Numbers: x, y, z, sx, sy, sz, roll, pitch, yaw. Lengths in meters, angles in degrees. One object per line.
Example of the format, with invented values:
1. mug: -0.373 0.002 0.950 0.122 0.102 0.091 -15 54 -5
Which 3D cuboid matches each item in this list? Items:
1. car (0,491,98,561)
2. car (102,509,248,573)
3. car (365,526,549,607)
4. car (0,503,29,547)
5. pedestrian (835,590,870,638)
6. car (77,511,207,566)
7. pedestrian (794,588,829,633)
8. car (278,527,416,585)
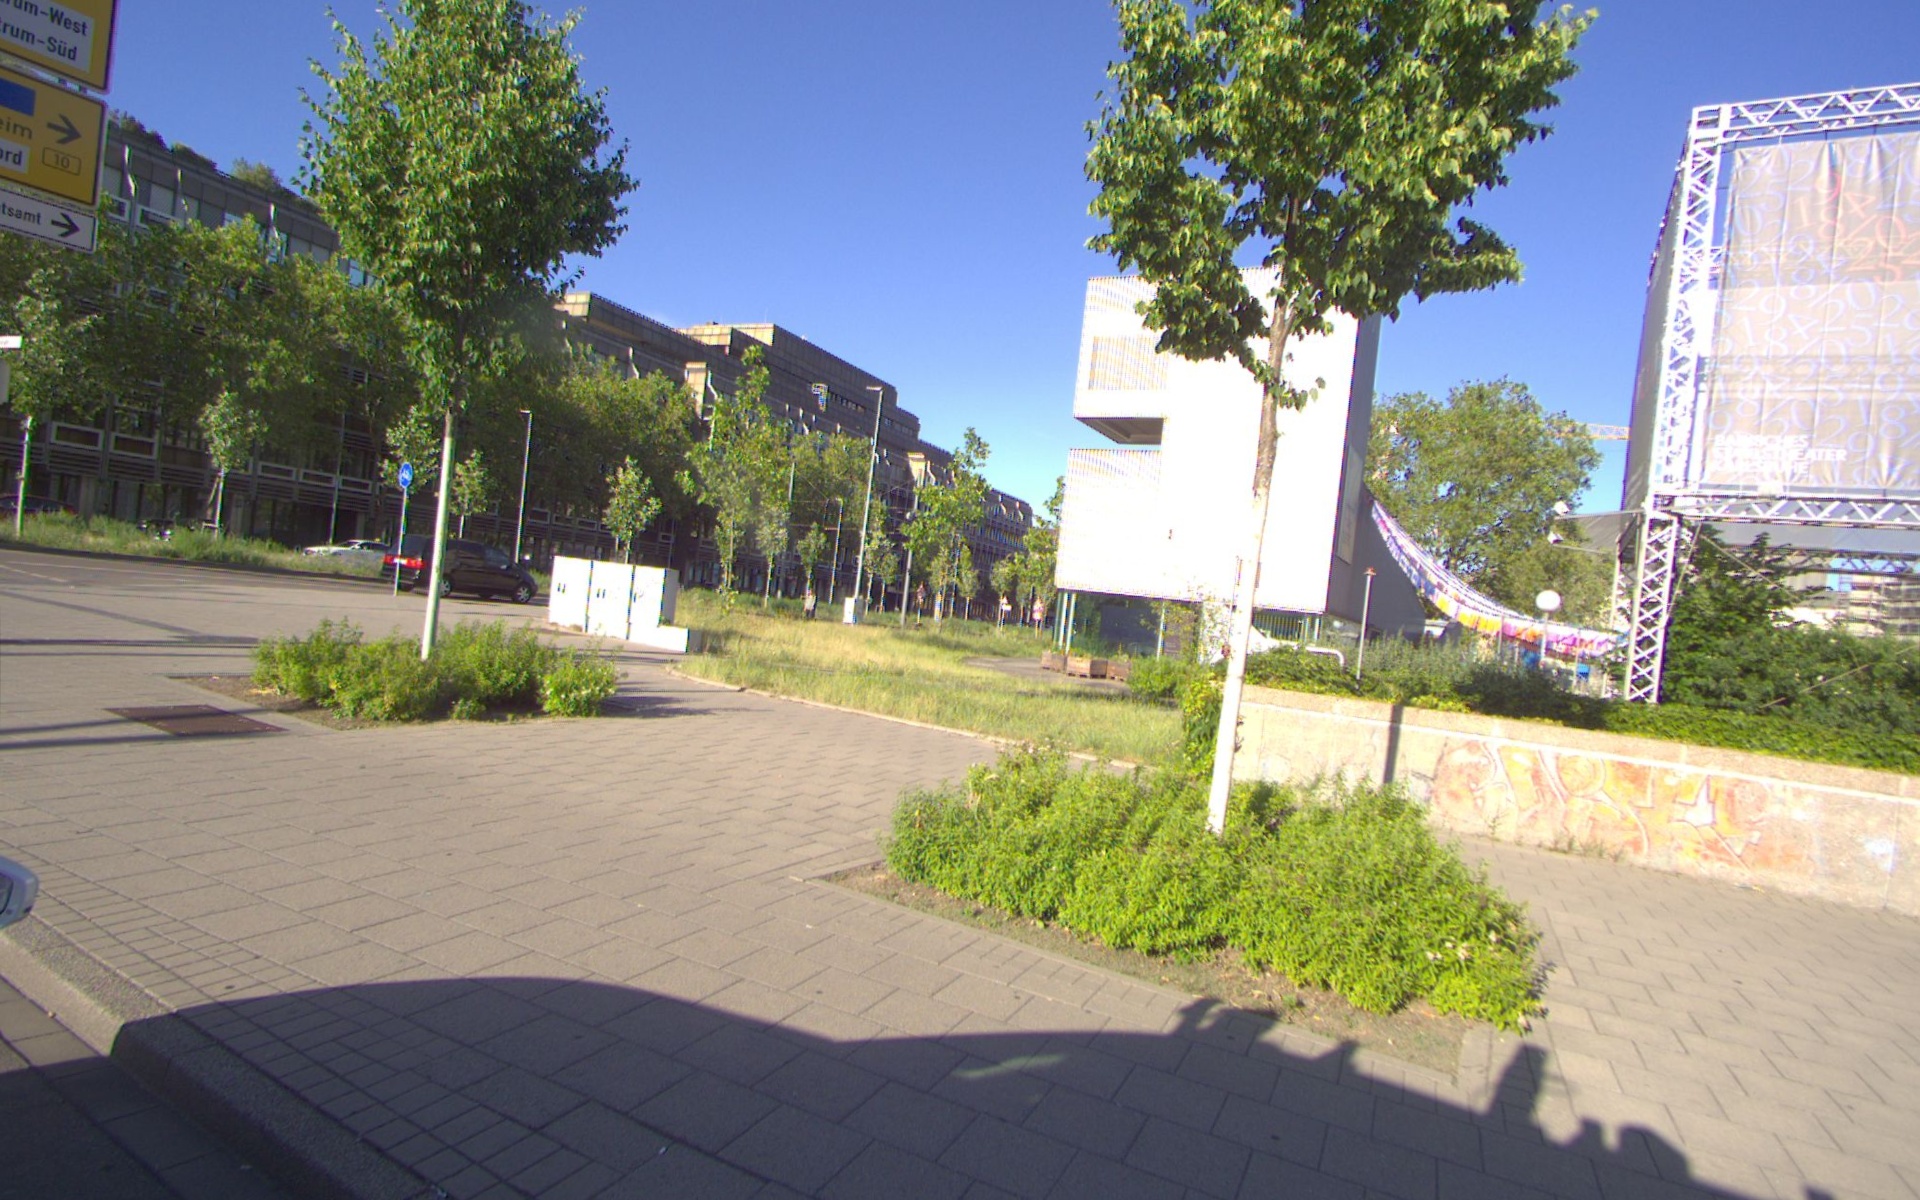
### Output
1. car: -33.320 -2.708 35.377 1.966 2.037 3.997 6 -2 29
2. car: -34.118 -2.526 43.885 1.965 2.036 4.458 7 -2 27
3. car: -14.725 -0.932 29.734 1.964 1.780 4.484 9 1 24
4. car: -37.251 -3.040 36.948 1.836 1.525 3.997 7 -2 29
5. pedestrian: -4.125 0.539 38.580 0.925 1.750 0.695 7 1 18
6. car: -36.935 -2.758 45.508 1.965 1.770 3.998 6 -2 28
7. pedestrian: -5.882 0.413 39.793 0.925 1.650 0.803 7 1 18
8. car: -30.682 -2.178 50.588 2.062 2.036 5.455 6 -2 29
